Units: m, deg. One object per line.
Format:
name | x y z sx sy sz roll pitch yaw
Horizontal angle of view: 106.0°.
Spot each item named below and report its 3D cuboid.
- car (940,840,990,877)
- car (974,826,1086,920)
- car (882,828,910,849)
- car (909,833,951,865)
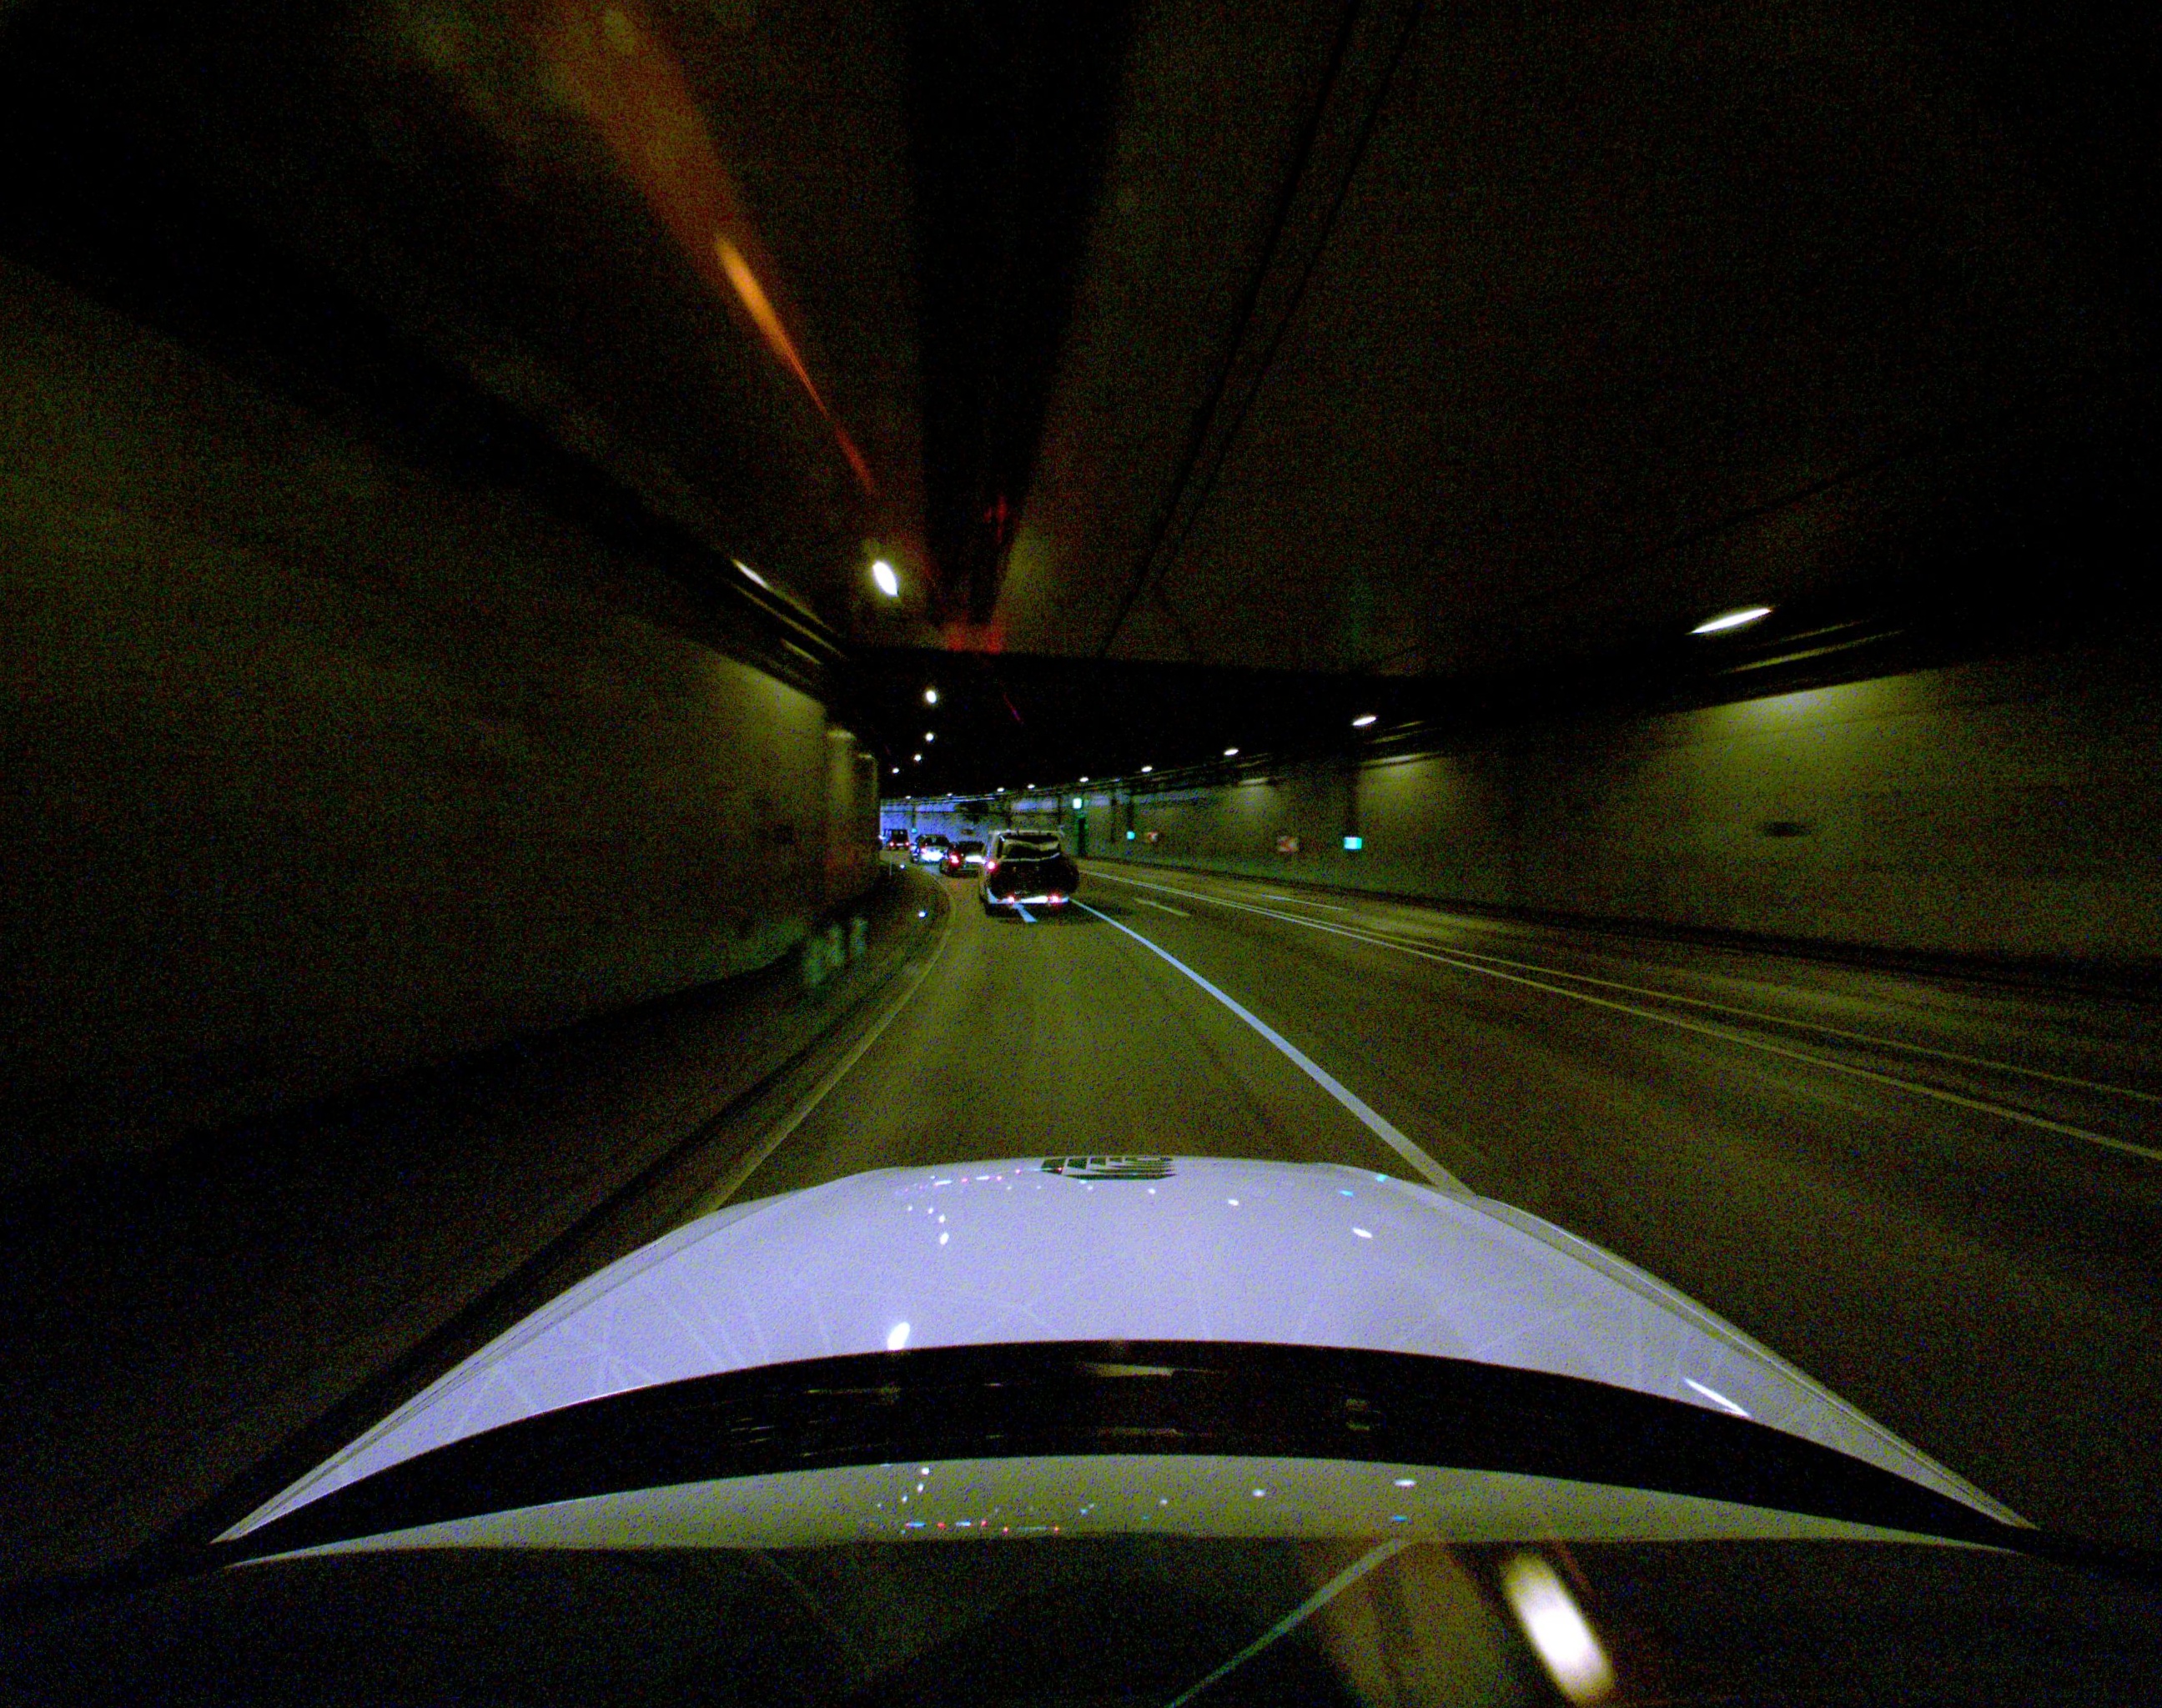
car | -4.742 0.144 32.996 1.605 1.395 3.261 -1 2 -15
car | -1.364 0.338 19.185 1.994 1.847 5.283 -1 1 -10
car | -14.459 -1.184 63.573 1.609 1.630 3.330 0 1 -23
car | -7.904 -0.251 42.452 1.608 1.594 3.333 1 0 -20
